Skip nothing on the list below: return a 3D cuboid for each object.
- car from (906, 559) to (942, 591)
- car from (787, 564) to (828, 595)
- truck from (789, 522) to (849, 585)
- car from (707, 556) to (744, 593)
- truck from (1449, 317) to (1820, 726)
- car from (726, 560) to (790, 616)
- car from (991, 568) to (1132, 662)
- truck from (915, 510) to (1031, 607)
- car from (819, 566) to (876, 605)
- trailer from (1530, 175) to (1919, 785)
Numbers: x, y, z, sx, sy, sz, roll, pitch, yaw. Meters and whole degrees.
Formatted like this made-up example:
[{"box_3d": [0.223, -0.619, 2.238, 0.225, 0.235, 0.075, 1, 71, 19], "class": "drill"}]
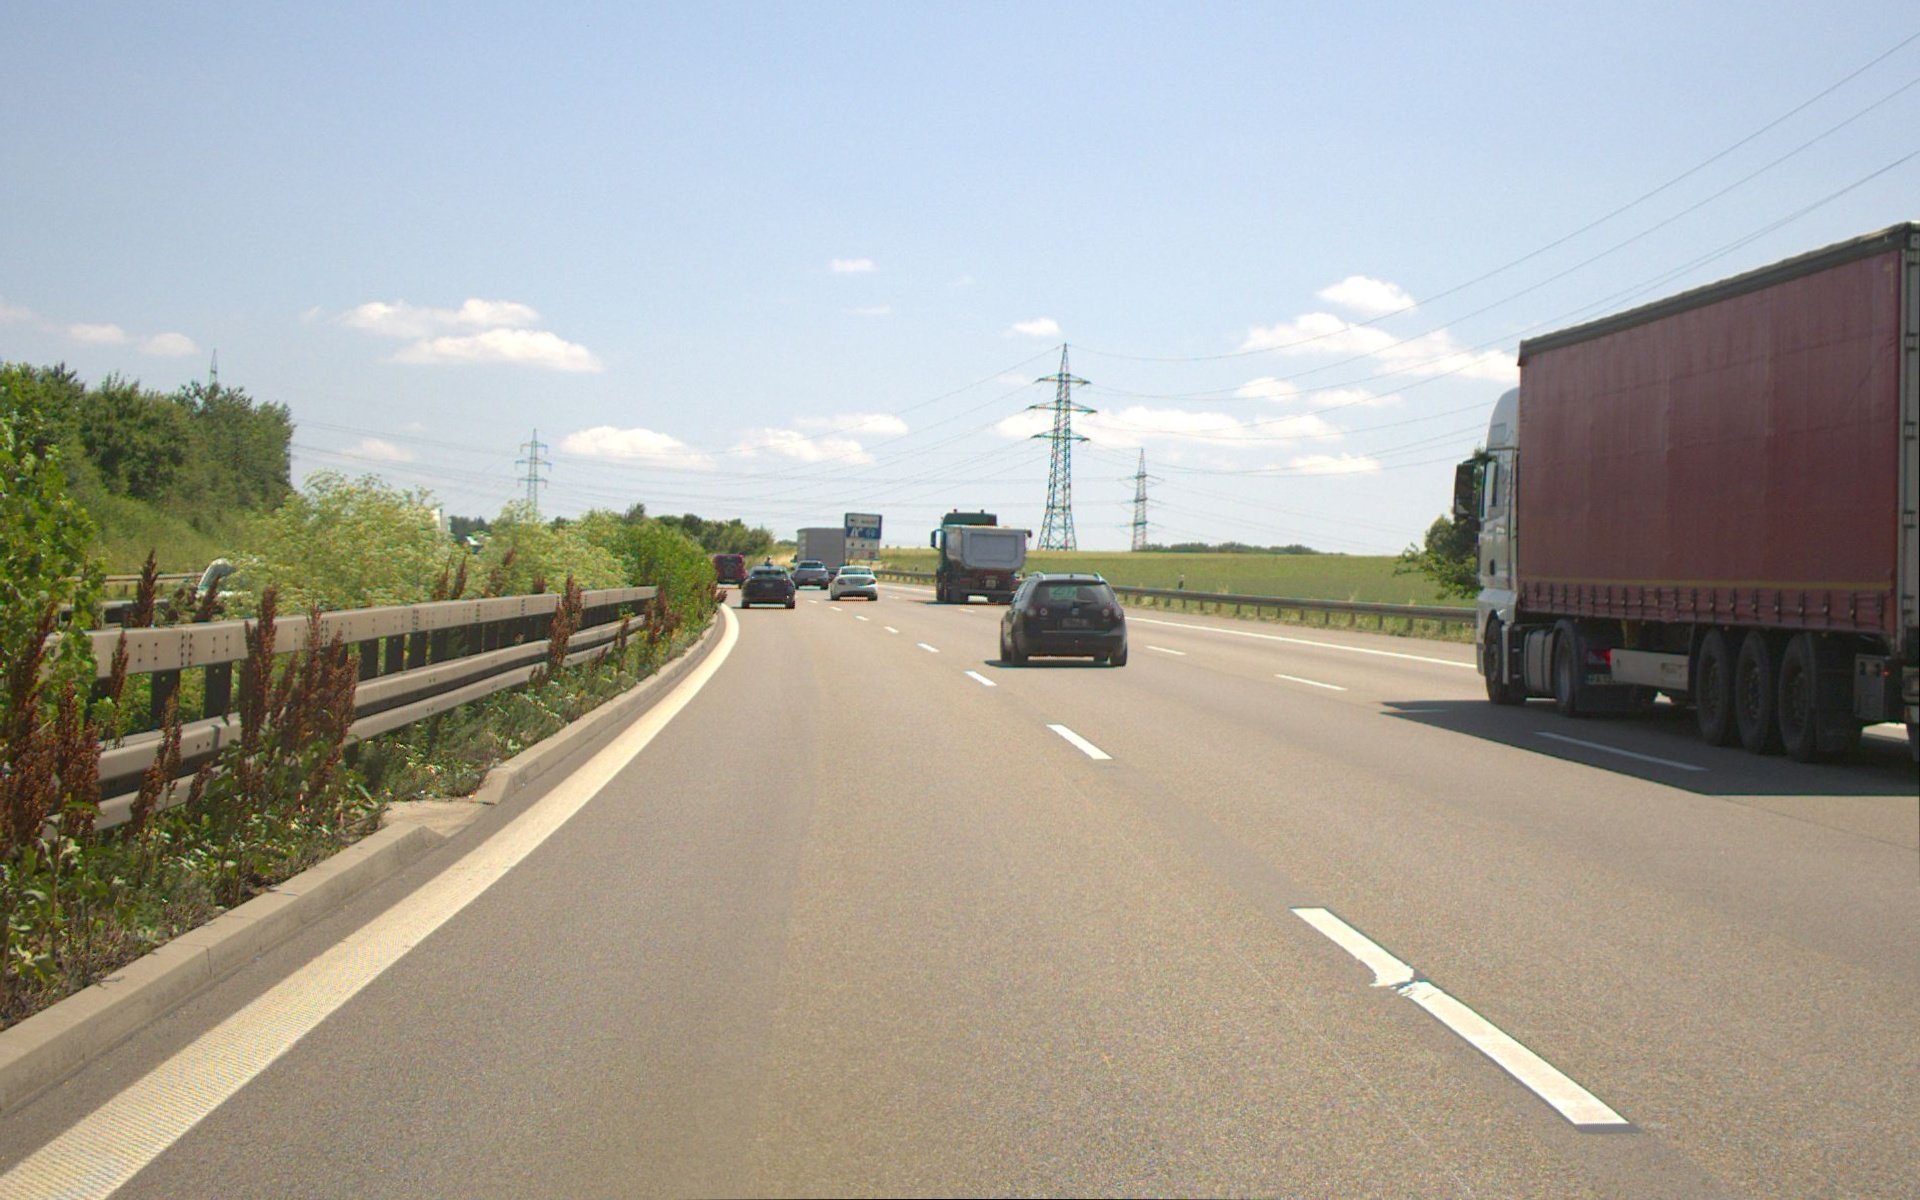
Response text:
[{"box_3d": [-2.360, -1.616, 222.596, 1.813, 2.007, 3.955, 1, 1, -8], "class": "car"}, {"box_3d": [-8.020, -1.081, 180.361, 1.838, 1.535, 3.915, 1, 1, -7], "class": "car"}, {"box_3d": [-9.153, -2.956, 222.306, 3.220, 3.911, 9.062, 1, 0, -6], "class": "truck"}, {"box_3d": [-12.334, -1.361, 180.970, 1.901, 1.919, 4.001, 1, 1, -4], "class": "car"}, {"box_3d": [7.344, -0.835, 38.253, 2.561, 4.139, 6.249, 1, 1, -3], "class": "truck"}, {"box_3d": [-6.990, -0.421, 118.502, 1.993, 1.853, 4.001, 1, 1, -6], "class": "car"}, {"box_3d": [1.575, 0.211, 54.705, 1.756, 1.424, 4.001, 1, 1, -5], "class": "car"}, {"box_3d": [0.418, -1.677, 139.148, 2.864, 3.711, 12.766, 1, 1, -8], "class": "truck"}, {"box_3d": [-4.636, -0.606, 141.492, 1.819, 1.535, 3.915, 1, 1, -10], "class": "car"}, {"box_3d": [7.707, -0.883, 30.391, 2.600, 4.249, 13.035, 1, 1, -2], "class": "trailer"}]
